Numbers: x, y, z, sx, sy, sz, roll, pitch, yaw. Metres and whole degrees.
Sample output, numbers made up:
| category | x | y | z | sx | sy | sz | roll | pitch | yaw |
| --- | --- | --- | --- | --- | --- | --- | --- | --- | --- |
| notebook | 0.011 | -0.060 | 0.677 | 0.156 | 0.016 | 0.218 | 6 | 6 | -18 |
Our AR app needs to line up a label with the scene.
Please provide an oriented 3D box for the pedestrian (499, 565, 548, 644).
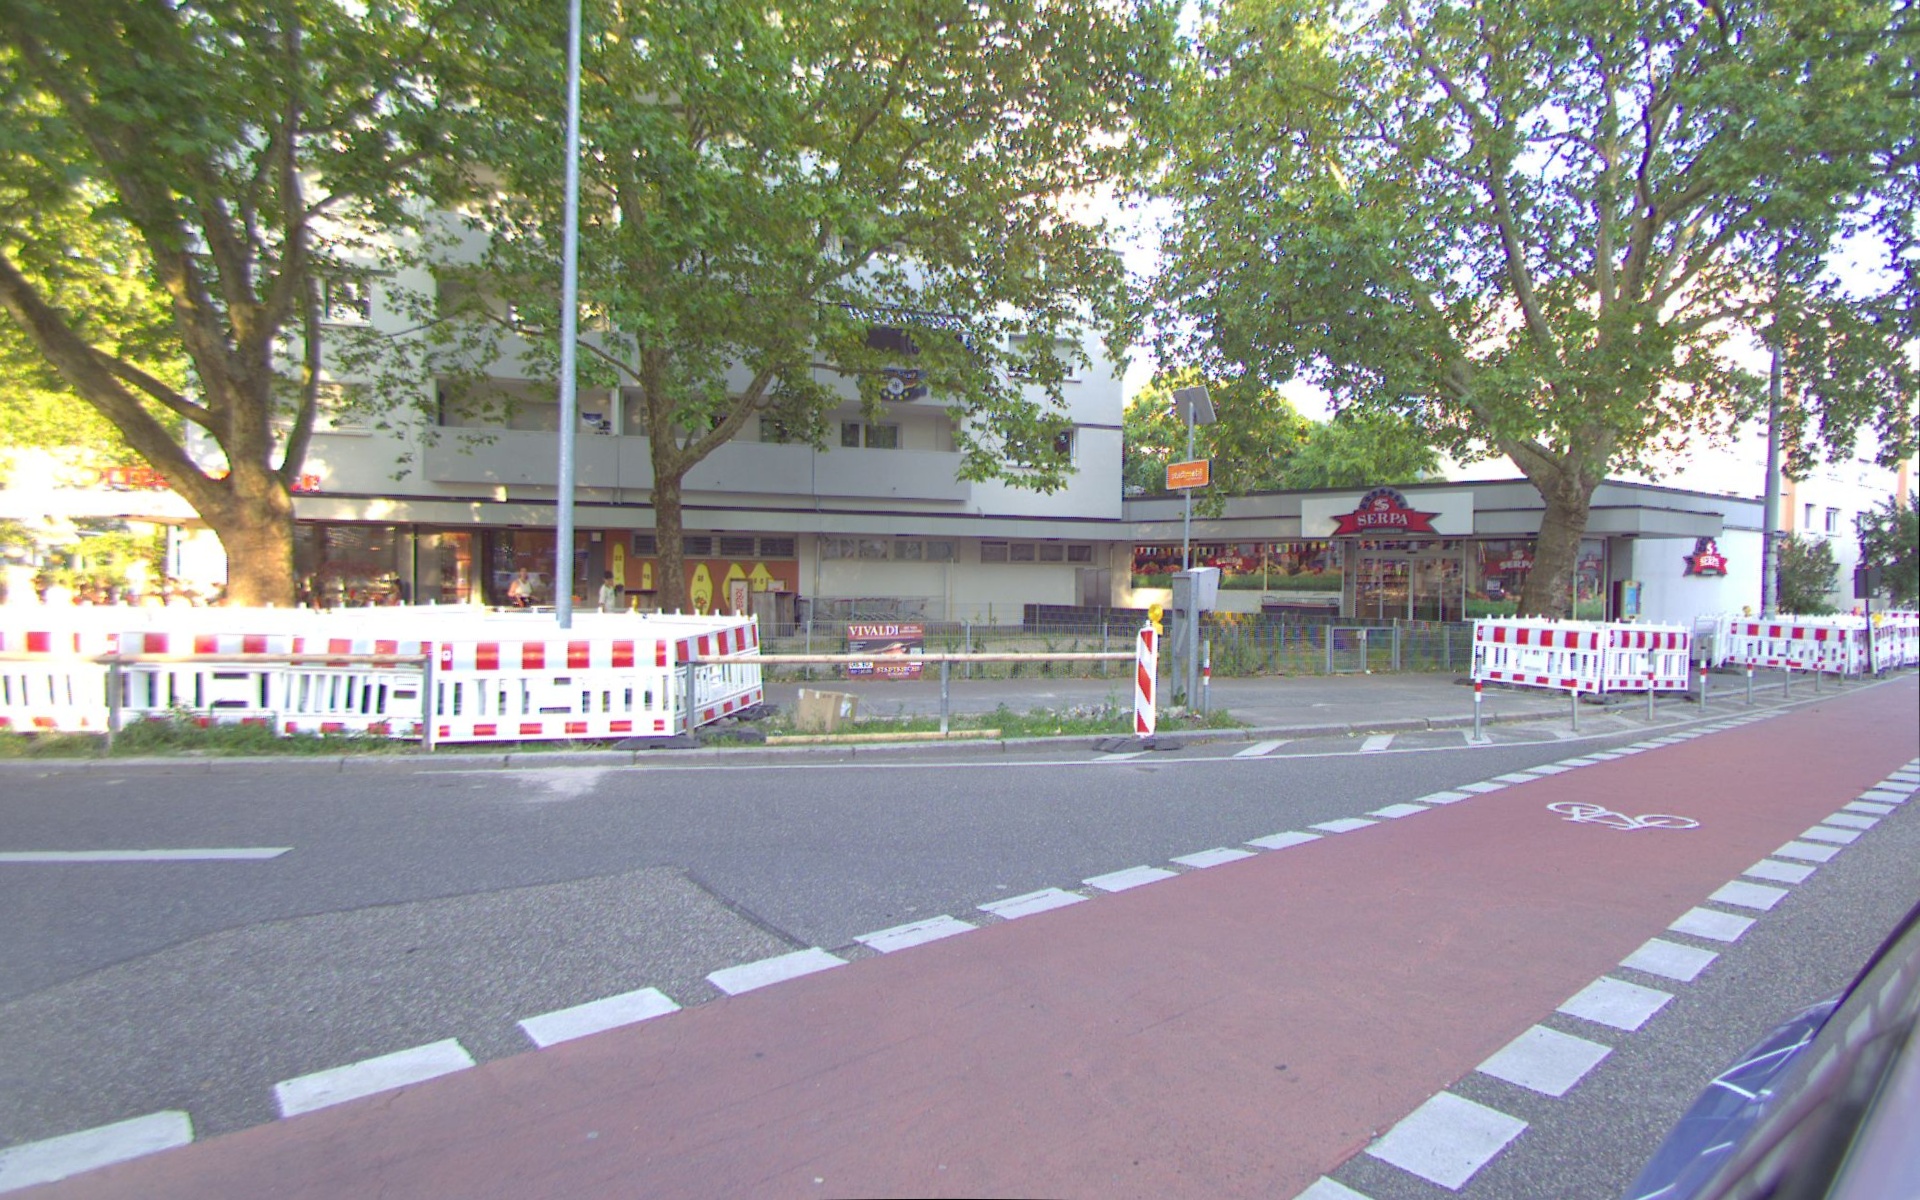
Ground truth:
| category | x | y | z | sx | sy | sz | roll | pitch | yaw |
| --- | --- | --- | --- | --- | --- | --- | --- | --- | --- |
| pedestrian | -9.091 | 0.083 | 21.063 | 0.639 | 1.608 | 0.735 | 0 | 0 | 43 |

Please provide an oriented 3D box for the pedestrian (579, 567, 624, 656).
| category | x | y | z | sx | sy | sz | roll | pitch | yaw |
| --- | --- | --- | --- | --- | --- | --- | --- | --- | --- |
| pedestrian | -6.604 | 0.207 | 18.683 | 0.628 | 1.608 | 0.747 | -1 | 0 | -7 |
